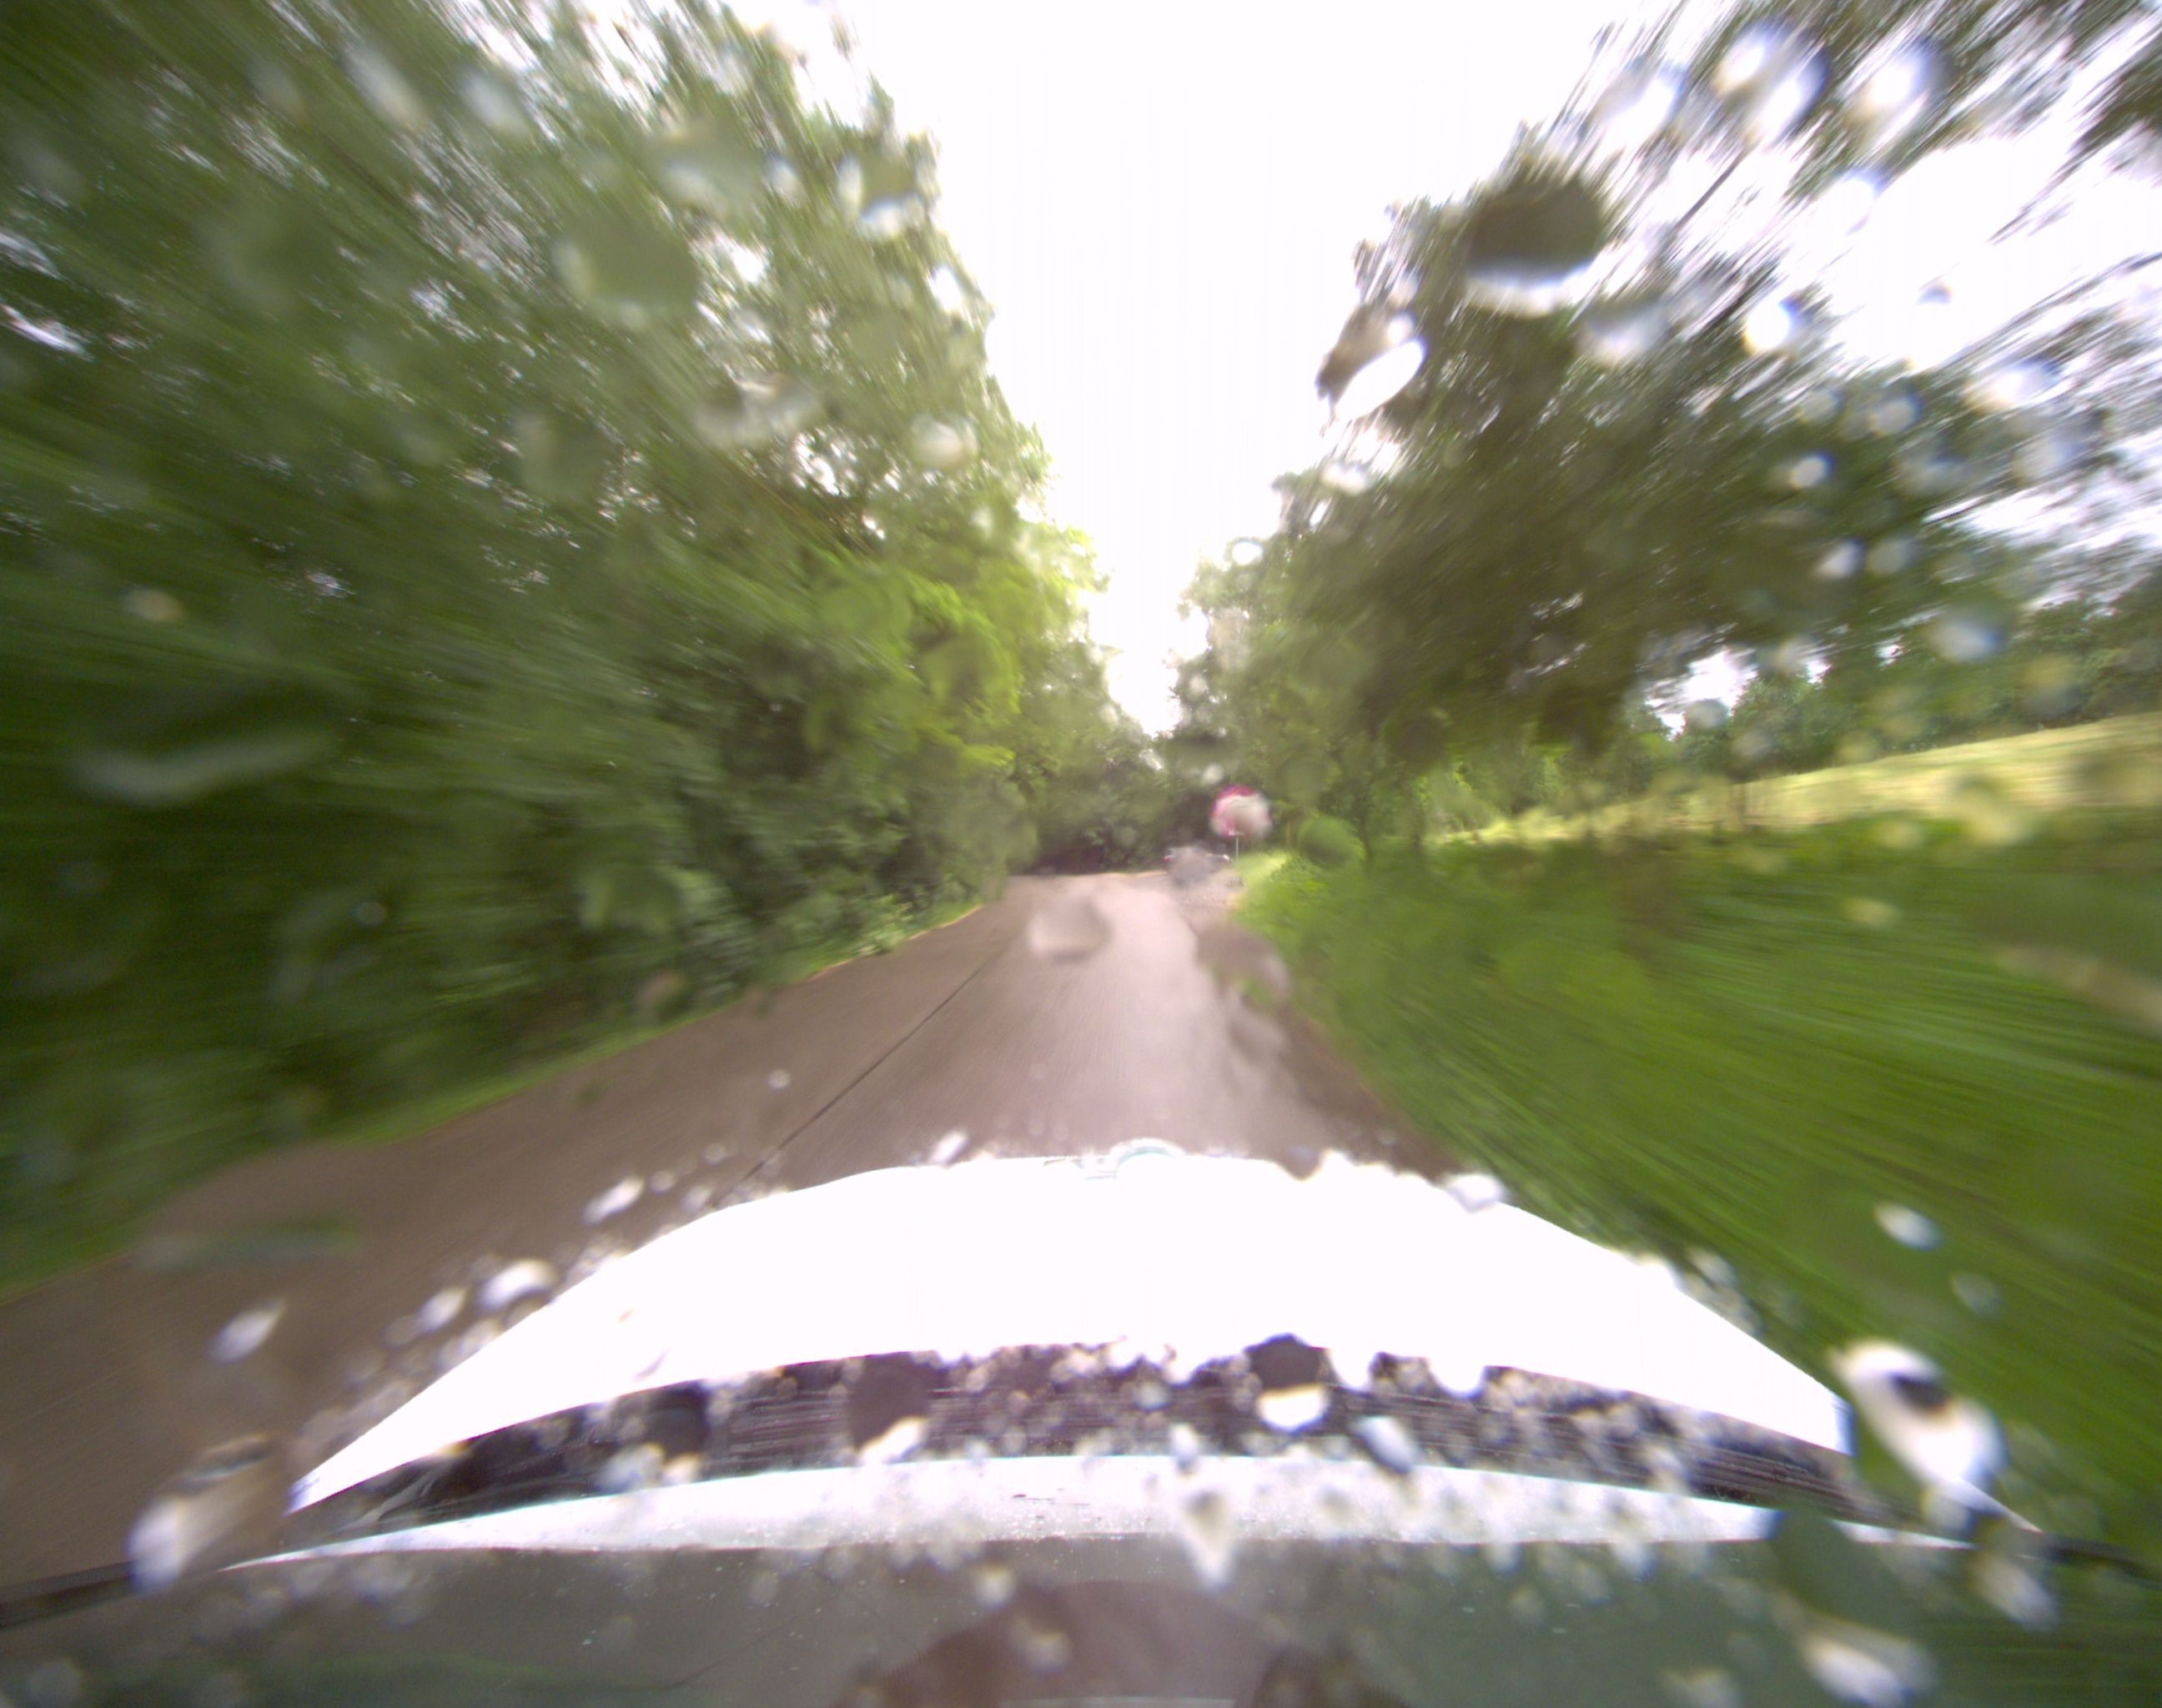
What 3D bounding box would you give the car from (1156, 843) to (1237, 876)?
[{"bbox_3d":[6.136,0.287,43.700,3.974,1.390,2.000,-5,0,0],"label":"car"}]
